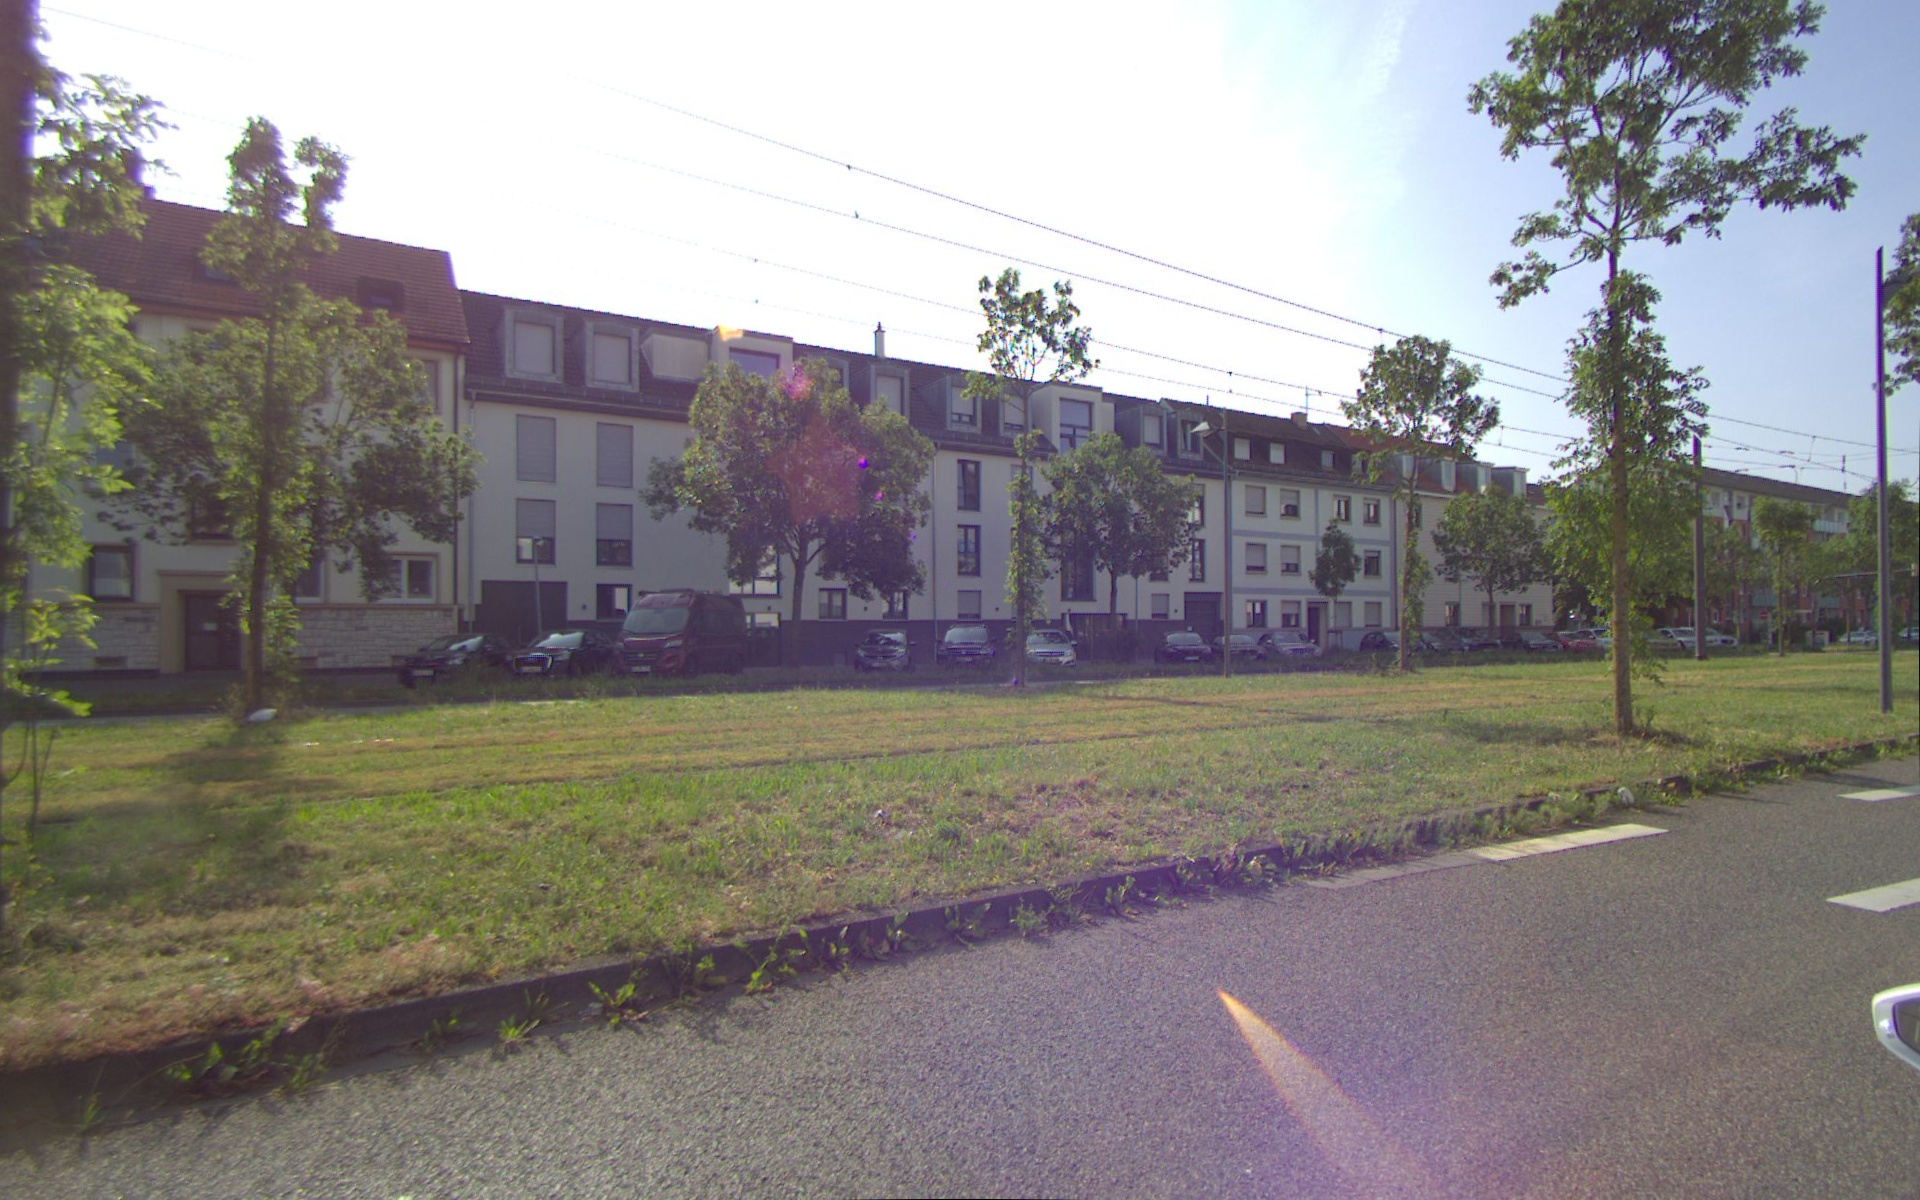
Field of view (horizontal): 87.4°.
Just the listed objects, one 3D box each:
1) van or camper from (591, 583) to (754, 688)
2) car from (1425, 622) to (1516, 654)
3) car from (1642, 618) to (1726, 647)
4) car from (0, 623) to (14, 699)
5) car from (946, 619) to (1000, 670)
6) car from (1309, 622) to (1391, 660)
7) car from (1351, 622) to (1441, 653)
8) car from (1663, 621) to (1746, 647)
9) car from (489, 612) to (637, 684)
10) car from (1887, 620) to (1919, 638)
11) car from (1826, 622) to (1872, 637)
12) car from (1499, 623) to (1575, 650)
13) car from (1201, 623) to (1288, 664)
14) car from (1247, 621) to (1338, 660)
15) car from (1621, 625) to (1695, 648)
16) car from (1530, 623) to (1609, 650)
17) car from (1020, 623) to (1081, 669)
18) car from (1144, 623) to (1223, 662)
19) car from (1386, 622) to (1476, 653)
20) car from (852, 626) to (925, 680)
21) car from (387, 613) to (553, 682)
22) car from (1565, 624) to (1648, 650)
[{"bbox_3d":[-7.753,0.942,27.923,2.365,2.580,6.165,0,-1,4],"label":"van or camper"},{"bbox_3d":[24.101,1.768,47.589,1.962,1.305,4.056,1,0,-5],"label":"car"},{"bbox_3d":[43.198,1.914,60.062,1.960,1.534,4.466,1,0,4],"label":"car"},{"bbox_3d":[-21.017,1.239,18.954,1.959,1.550,4.353,1,0,7],"label":"car"},{"bbox_3d":[0.408,1.374,32.220,1.609,1.453,3.722,1,0,1],"label":"car"},{"bbox_3d":[16.169,1.671,41.845,1.633,1.394,3.777,1,0,-6],"label":"car"},{"bbox_3d":[19.500,1.658,45.134,1.963,1.305,3.996,0,-2,-7],"label":"car"},{"bbox_3d":[46.069,2.071,62.256,1.924,1.483,4.353,1,0,1],"label":"car"},{"bbox_3d":[-10.265,1.176,26.349,1.831,1.637,4.156,3,0,6],"label":"car"},{"bbox_3d":[85.665,2.586,90.619,4.489,1.577,1.969,1,0,-34],"label":"car"},{"bbox_3d":[72.554,2.372,81.984,4.121,1.163,1.822,1,0,-34],"label":"car"},{"bbox_3d":[29.600,1.834,51.634,1.665,1.251,4.000,1,0,1],"label":"car"},{"bbox_3d":[10.891,1.624,38.719,1.891,1.394,3.997,1,0,-5],"label":"car"},{"bbox_3d":[13.634,1.633,41.475,1.962,1.394,4.335,1,0,-6],"label":"car"},{"bbox_3d":[40.489,2.082,58.351,1.959,1.194,4.002,1,0,8],"label":"car"},{"bbox_3d":[32.400,1.934,53.525,1.839,1.275,4.000,1,0,1],"label":"car"},{"bbox_3d":[2.992,1.516,33.921,1.700,1.338,4.400,1,0,1],"label":"car"},{"bbox_3d":[8.440,1.582,38.326,1.801,1.394,3.997,0,-2,-5],"label":"car"},{"bbox_3d":[21.765,1.708,46.612,1.963,1.305,3.996,1,0,-6],"label":"car"},{"bbox_3d":[-2.139,1.567,30.960,1.746,1.439,4.001,1,0,3],"label":"car"},{"bbox_3d":[-12.445,1.143,25.851,1.831,1.529,4.156,3,0,6],"label":"car"},{"bbox_3d":[35.051,1.986,54.577,1.850,1.286,3.999,1,0,-2],"label":"car"}]
